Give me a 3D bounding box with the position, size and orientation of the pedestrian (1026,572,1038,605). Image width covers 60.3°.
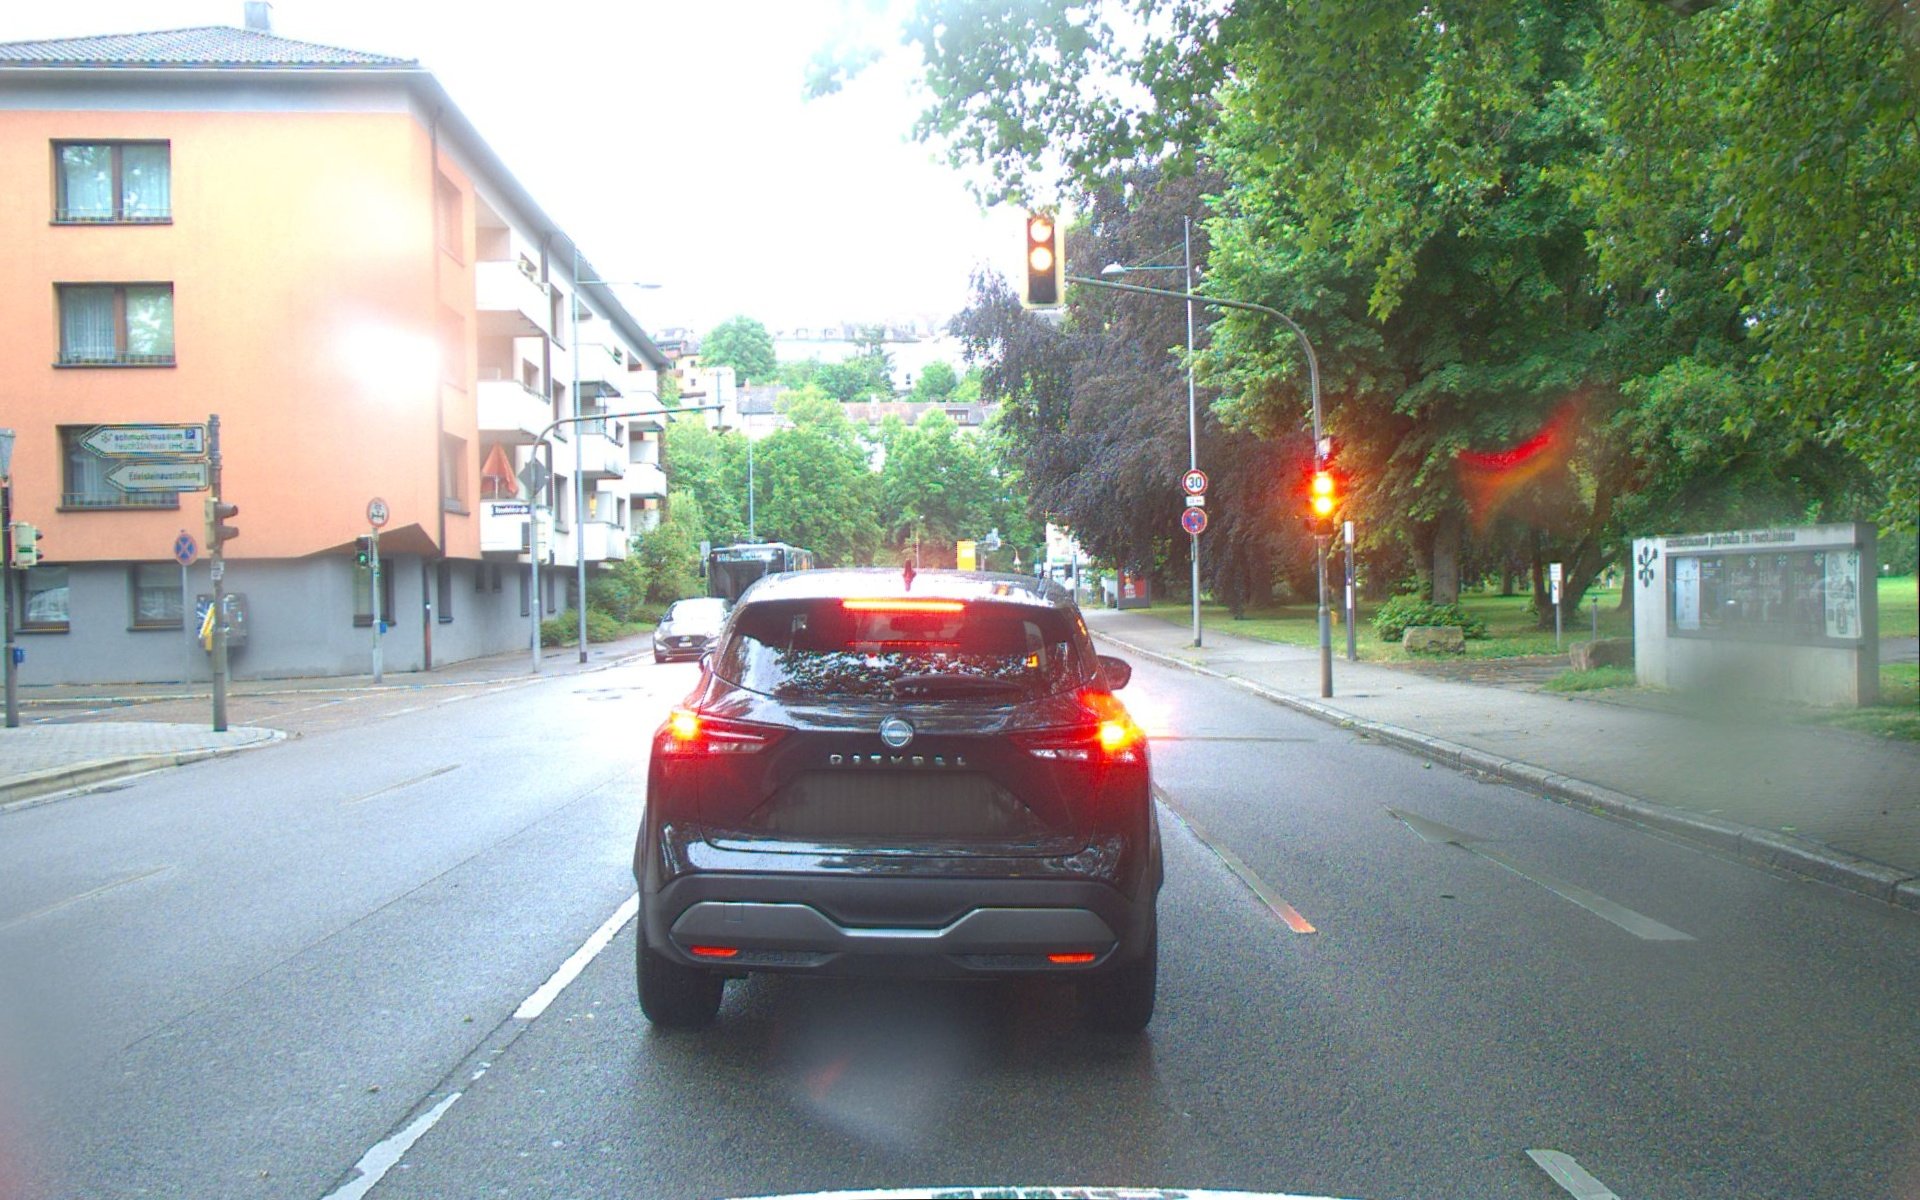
[{"bbox_3d":[4.802,-0.772,110.557,0.752,2.222,0.711,1,-1,2],"label":"pedestrian"}]

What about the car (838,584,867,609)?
[{"bbox_3d":[-6.898,-0.253,106.230,1.643,1.495,4.215,-3,1,-2],"label":"car"}]

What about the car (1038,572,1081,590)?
[{"bbox_3d":[9.908,-1.888,164.568,3.916,1.713,1.995,-2,0,-11],"label":"car"}]

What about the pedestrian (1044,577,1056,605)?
[{"bbox_3d":[5.413,-0.525,99.738,0.685,1.680,0.628,1,-1,0],"label":"pedestrian"}]

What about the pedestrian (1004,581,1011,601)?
[{"bbox_3d":[5.065,-0.980,175.695,0.684,2.049,0.582,-2,0,-1],"label":"pedestrian"}]

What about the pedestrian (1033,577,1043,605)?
[{"bbox_3d":[4.711,-0.537,99.801,0.533,1.680,0.490,1,-1,0],"label":"pedestrian"}]

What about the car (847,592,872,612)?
[{"bbox_3d":[-7.206,0.143,119.200,1.643,1.318,3.750,-3,1,-2],"label":"car"}]

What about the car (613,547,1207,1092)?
[{"bbox_3d":[-0.174,0.673,6.997,1.769,1.618,3.999,1,0,-1],"label":"car"}]

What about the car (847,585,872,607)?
[{"bbox_3d":[-7.785,-0.318,128.708,1.714,1.662,3.634,-2,1,0],"label":"car"}]

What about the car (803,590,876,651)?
[{"bbox_3d":[-3.034,0.485,42.230,1.591,1.439,3.454,-2,0,0],"label":"car"}]

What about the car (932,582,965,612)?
[{"bbox_3d":[-0.569,-0.152,83.151,1.591,1.439,3.454,-2,0,0],"label":"car"}]

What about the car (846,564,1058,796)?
[{"bbox_3d":[-0.035,0.605,14.683,1.588,1.738,3.771,-2,0,1],"label":"car"}]

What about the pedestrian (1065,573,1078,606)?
[{"bbox_3d":[6.361,-0.605,94.698,0.606,1.810,0.778,-2,0,-1],"label":"pedestrian"}]

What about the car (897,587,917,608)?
[{"bbox_3d":[-5.311,-0.270,166.620,1.953,2.049,3.999,1,0,-1],"label":"car"}]

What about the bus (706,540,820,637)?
[{"bbox_3d":[-6.741,-0.375,58.331,2.710,3.026,11.779,-1,0,-1],"label":"bus"}]

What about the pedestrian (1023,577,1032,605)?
[{"bbox_3d":[4.069,-0.548,99.859,0.465,1.680,0.490,1,-1,0],"label":"pedestrian"}]

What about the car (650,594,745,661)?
[{"bbox_3d":[-6.424,0.640,40.878,1.772,1.441,4.029,-3,1,-2],"label":"car"}]

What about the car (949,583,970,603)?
[{"bbox_3d":[-0.083,-0.603,140.847,1.714,1.662,3.634,-2,1,0],"label":"car"}]

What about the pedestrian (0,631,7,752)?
[{"bbox_3d":[-9.875,0.909,16.129,0.670,1.195,0.826,1,0,-1],"label":"pedestrian"}]

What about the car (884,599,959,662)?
[{"bbox_3d":[-0.978,0.728,41.081,1.772,1.442,4.029,0,0,-2],"label":"car"}]

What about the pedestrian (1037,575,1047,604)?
[{"bbox_3d":[4.863,-0.617,98.116,0.504,1.684,0.550,1,-1,-1],"label":"pedestrian"}]
